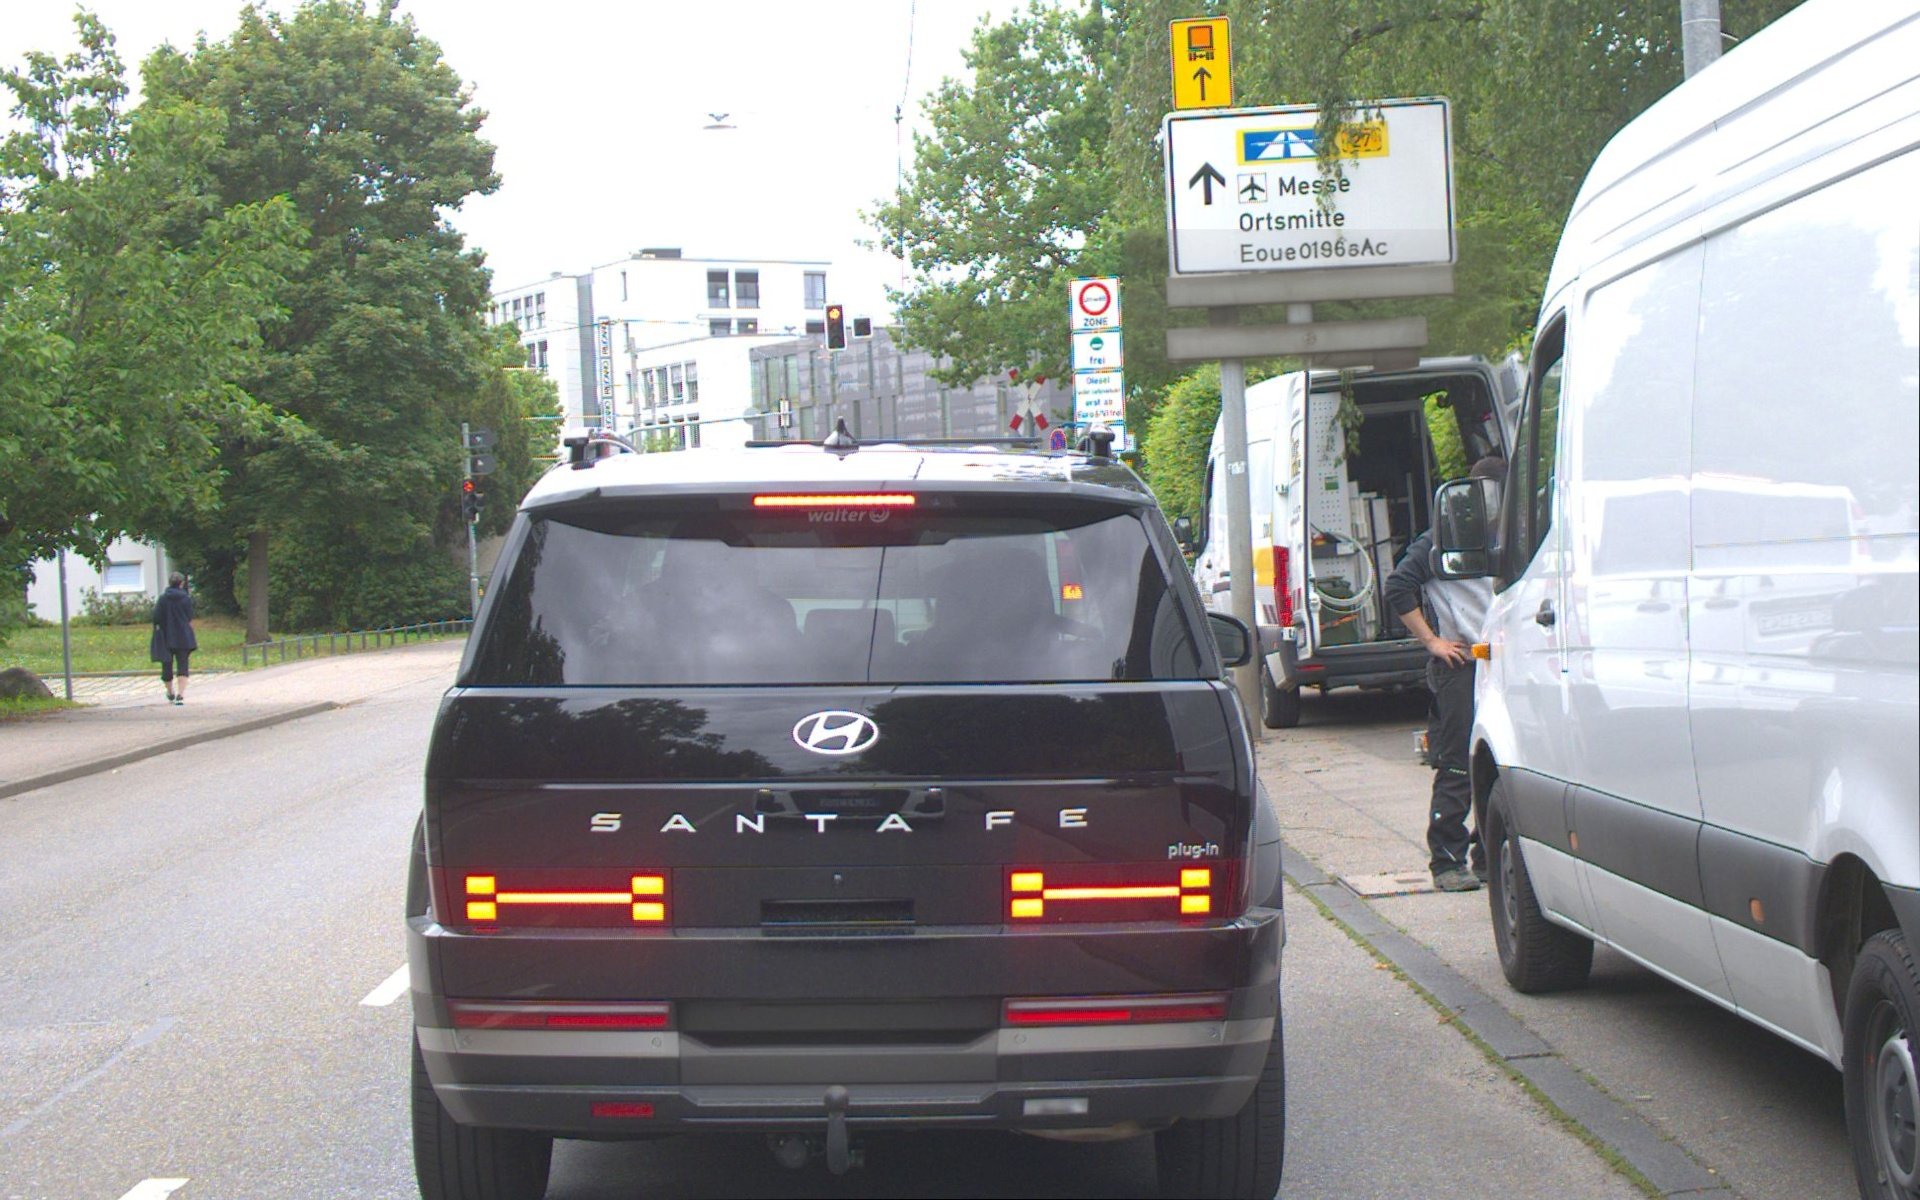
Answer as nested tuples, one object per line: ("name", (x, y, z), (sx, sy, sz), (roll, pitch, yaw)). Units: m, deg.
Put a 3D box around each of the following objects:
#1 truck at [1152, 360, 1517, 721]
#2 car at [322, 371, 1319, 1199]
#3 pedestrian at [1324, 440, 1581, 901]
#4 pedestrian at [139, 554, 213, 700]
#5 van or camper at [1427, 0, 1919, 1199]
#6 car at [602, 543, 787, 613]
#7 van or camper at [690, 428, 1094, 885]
("truck", (2.916, -0.462, 28.012), (1.942, 2.553, 5.217), (-4, 1, -4))
("car", (-0.286, 0.440, 8.557), (1.889, 1.813, 4.000), (0, 1, -1))
("pedestrian", (1.985, 0.271, 13.949), (0.870, 1.791, 0.760), (-2, 1, -1))
("pedestrian", (-9.394, 0.311, 41.200), (0.738, 1.709, 0.793), (-2, 1, -7))
("van or camper", (2.623, -0.084, 8.144), (1.993, 2.611, 6.541), (-2, 1, -1))
("car", (-6.949, -0.576, 89.731), (4.704, 1.742, 2.000), (1, 0, -7))
("van or camper", (-0.327, 0.221, 17.500), (1.754, 2.007, 4.000), (-2, 1, -1))
